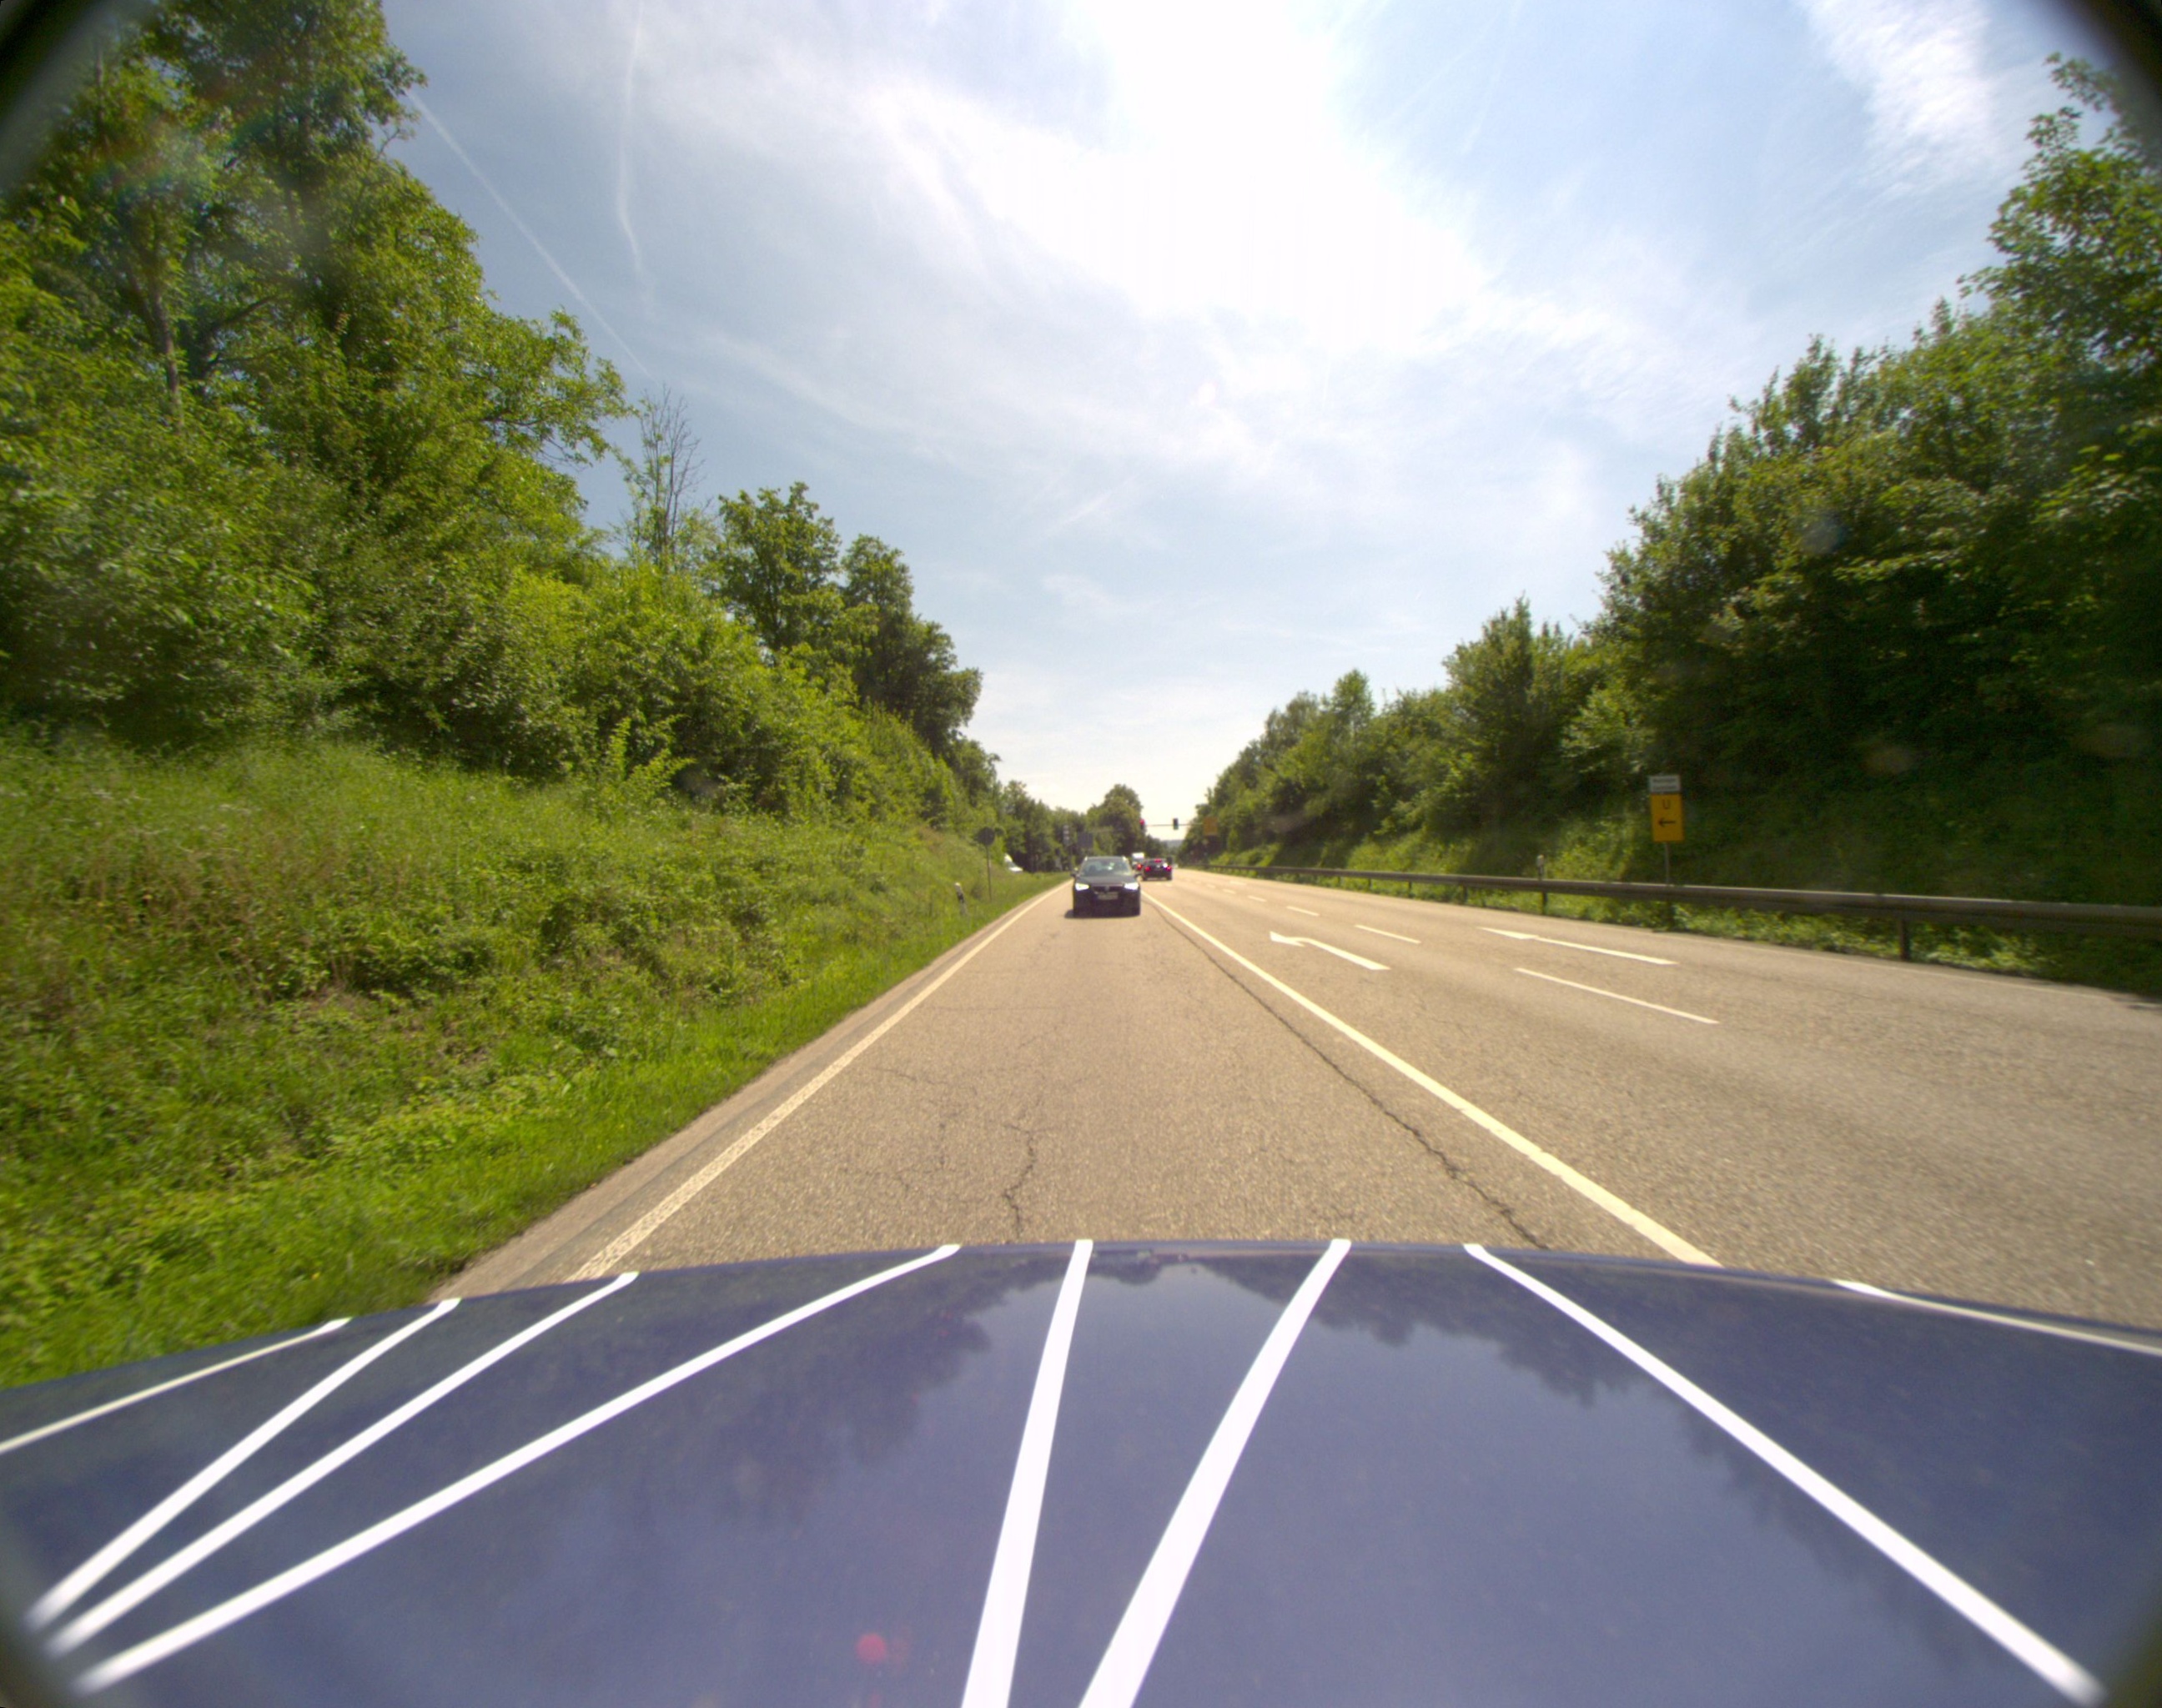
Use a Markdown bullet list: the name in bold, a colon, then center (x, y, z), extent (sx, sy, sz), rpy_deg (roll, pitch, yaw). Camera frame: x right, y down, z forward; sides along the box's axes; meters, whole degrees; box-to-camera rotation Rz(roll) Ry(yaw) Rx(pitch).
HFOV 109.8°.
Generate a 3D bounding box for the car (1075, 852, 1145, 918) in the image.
- **car**: center (0.808, 0.764, 20.557), extent (1.626, 1.535, 4.001), rpy_deg (-3, 0, 3)

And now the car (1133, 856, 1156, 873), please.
- **car**: center (5.666, 0.939, 68.122), extent (1.786, 1.438, 4.641), rpy_deg (-2, -1, 2)

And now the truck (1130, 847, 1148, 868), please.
- **truck**: center (11.927, 0.691, 155.324), extent (2.838, 3.795, 8.455), rpy_deg (-3, 1, 9)

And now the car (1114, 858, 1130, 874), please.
- **car**: center (5.715, 1.687, 105.959), extent (1.998, 2.001, 4.002), rpy_deg (-4, 0, 6)

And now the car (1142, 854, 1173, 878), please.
- **car**: center (5.050, 0.785, 50.611), extent (1.808, 1.445, 4.387), rpy_deg (-2, 0, 3)

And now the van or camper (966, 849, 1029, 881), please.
- **van or camper**: center (-9.727, 1.301, 88.208), extent (7.236, 3.193, 2.108), rpy_deg (-4, 0, 29)
